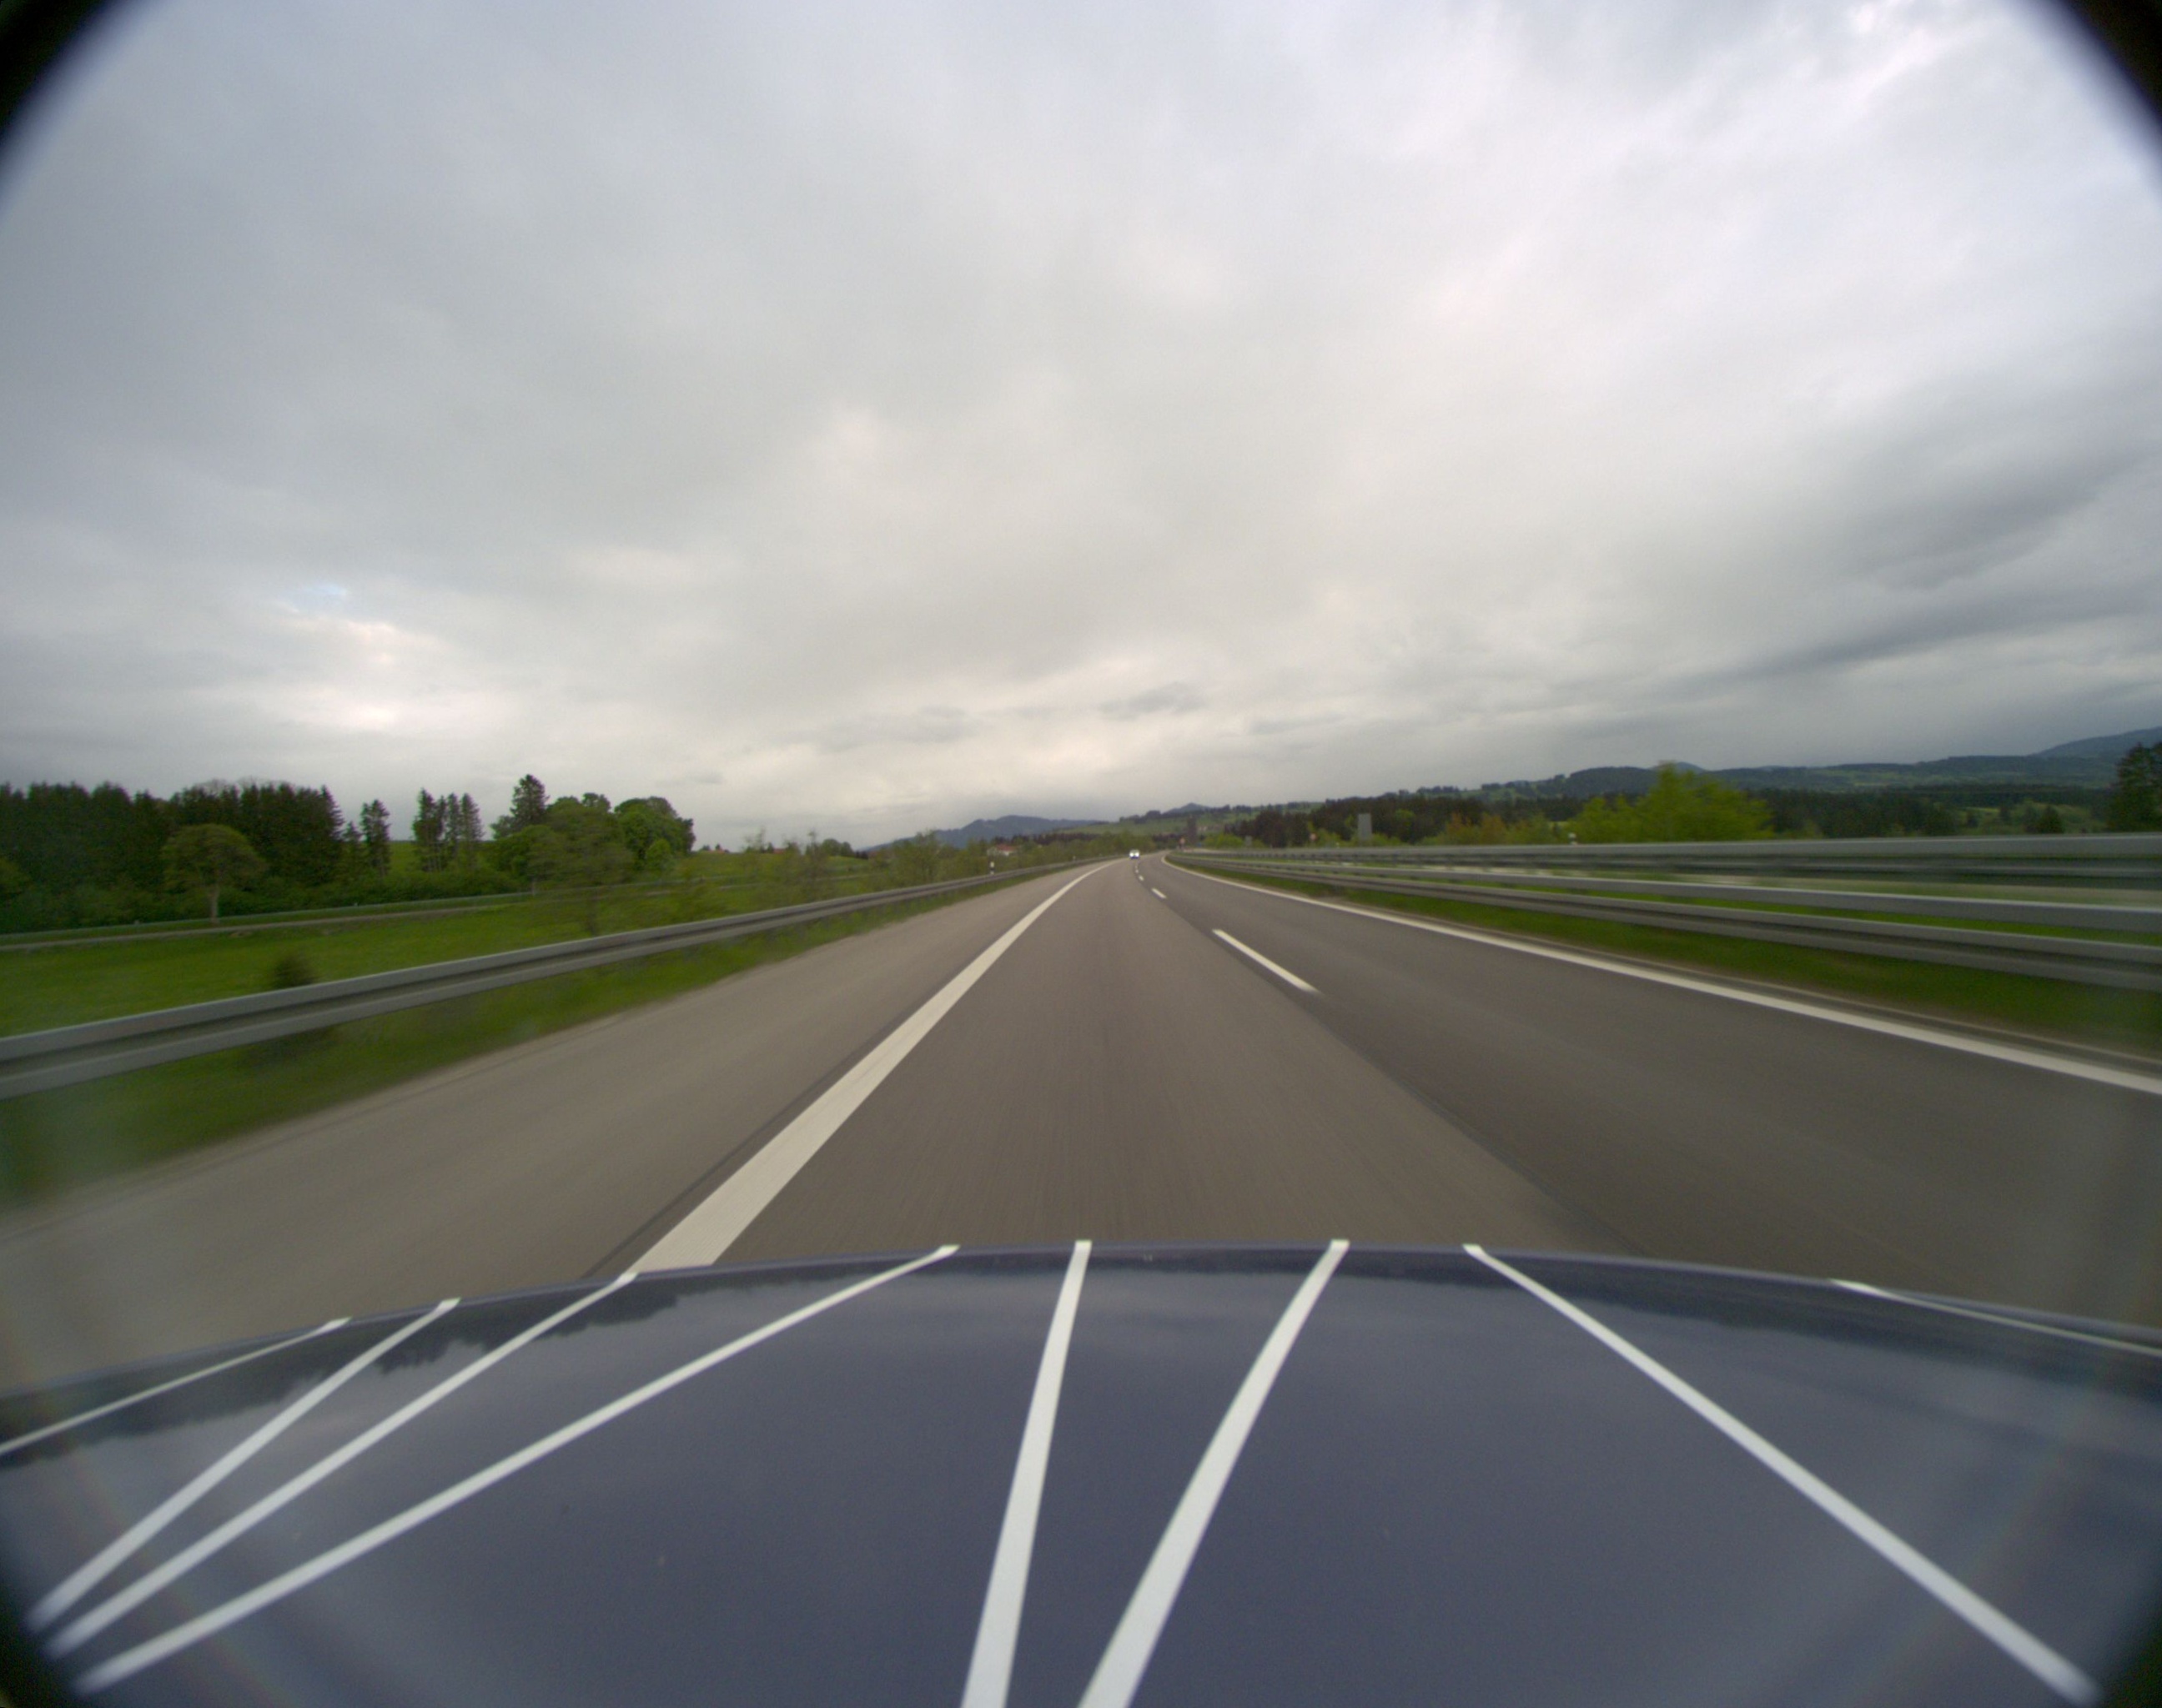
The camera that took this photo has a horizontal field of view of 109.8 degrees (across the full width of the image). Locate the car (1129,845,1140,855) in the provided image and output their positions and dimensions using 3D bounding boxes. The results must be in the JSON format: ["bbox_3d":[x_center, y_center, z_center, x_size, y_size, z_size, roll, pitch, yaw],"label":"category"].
[{"bbox_3d":[11.268,-0.850,160.095,2.020,1.899,4.223,-2,0,7],"label":"car"}]
